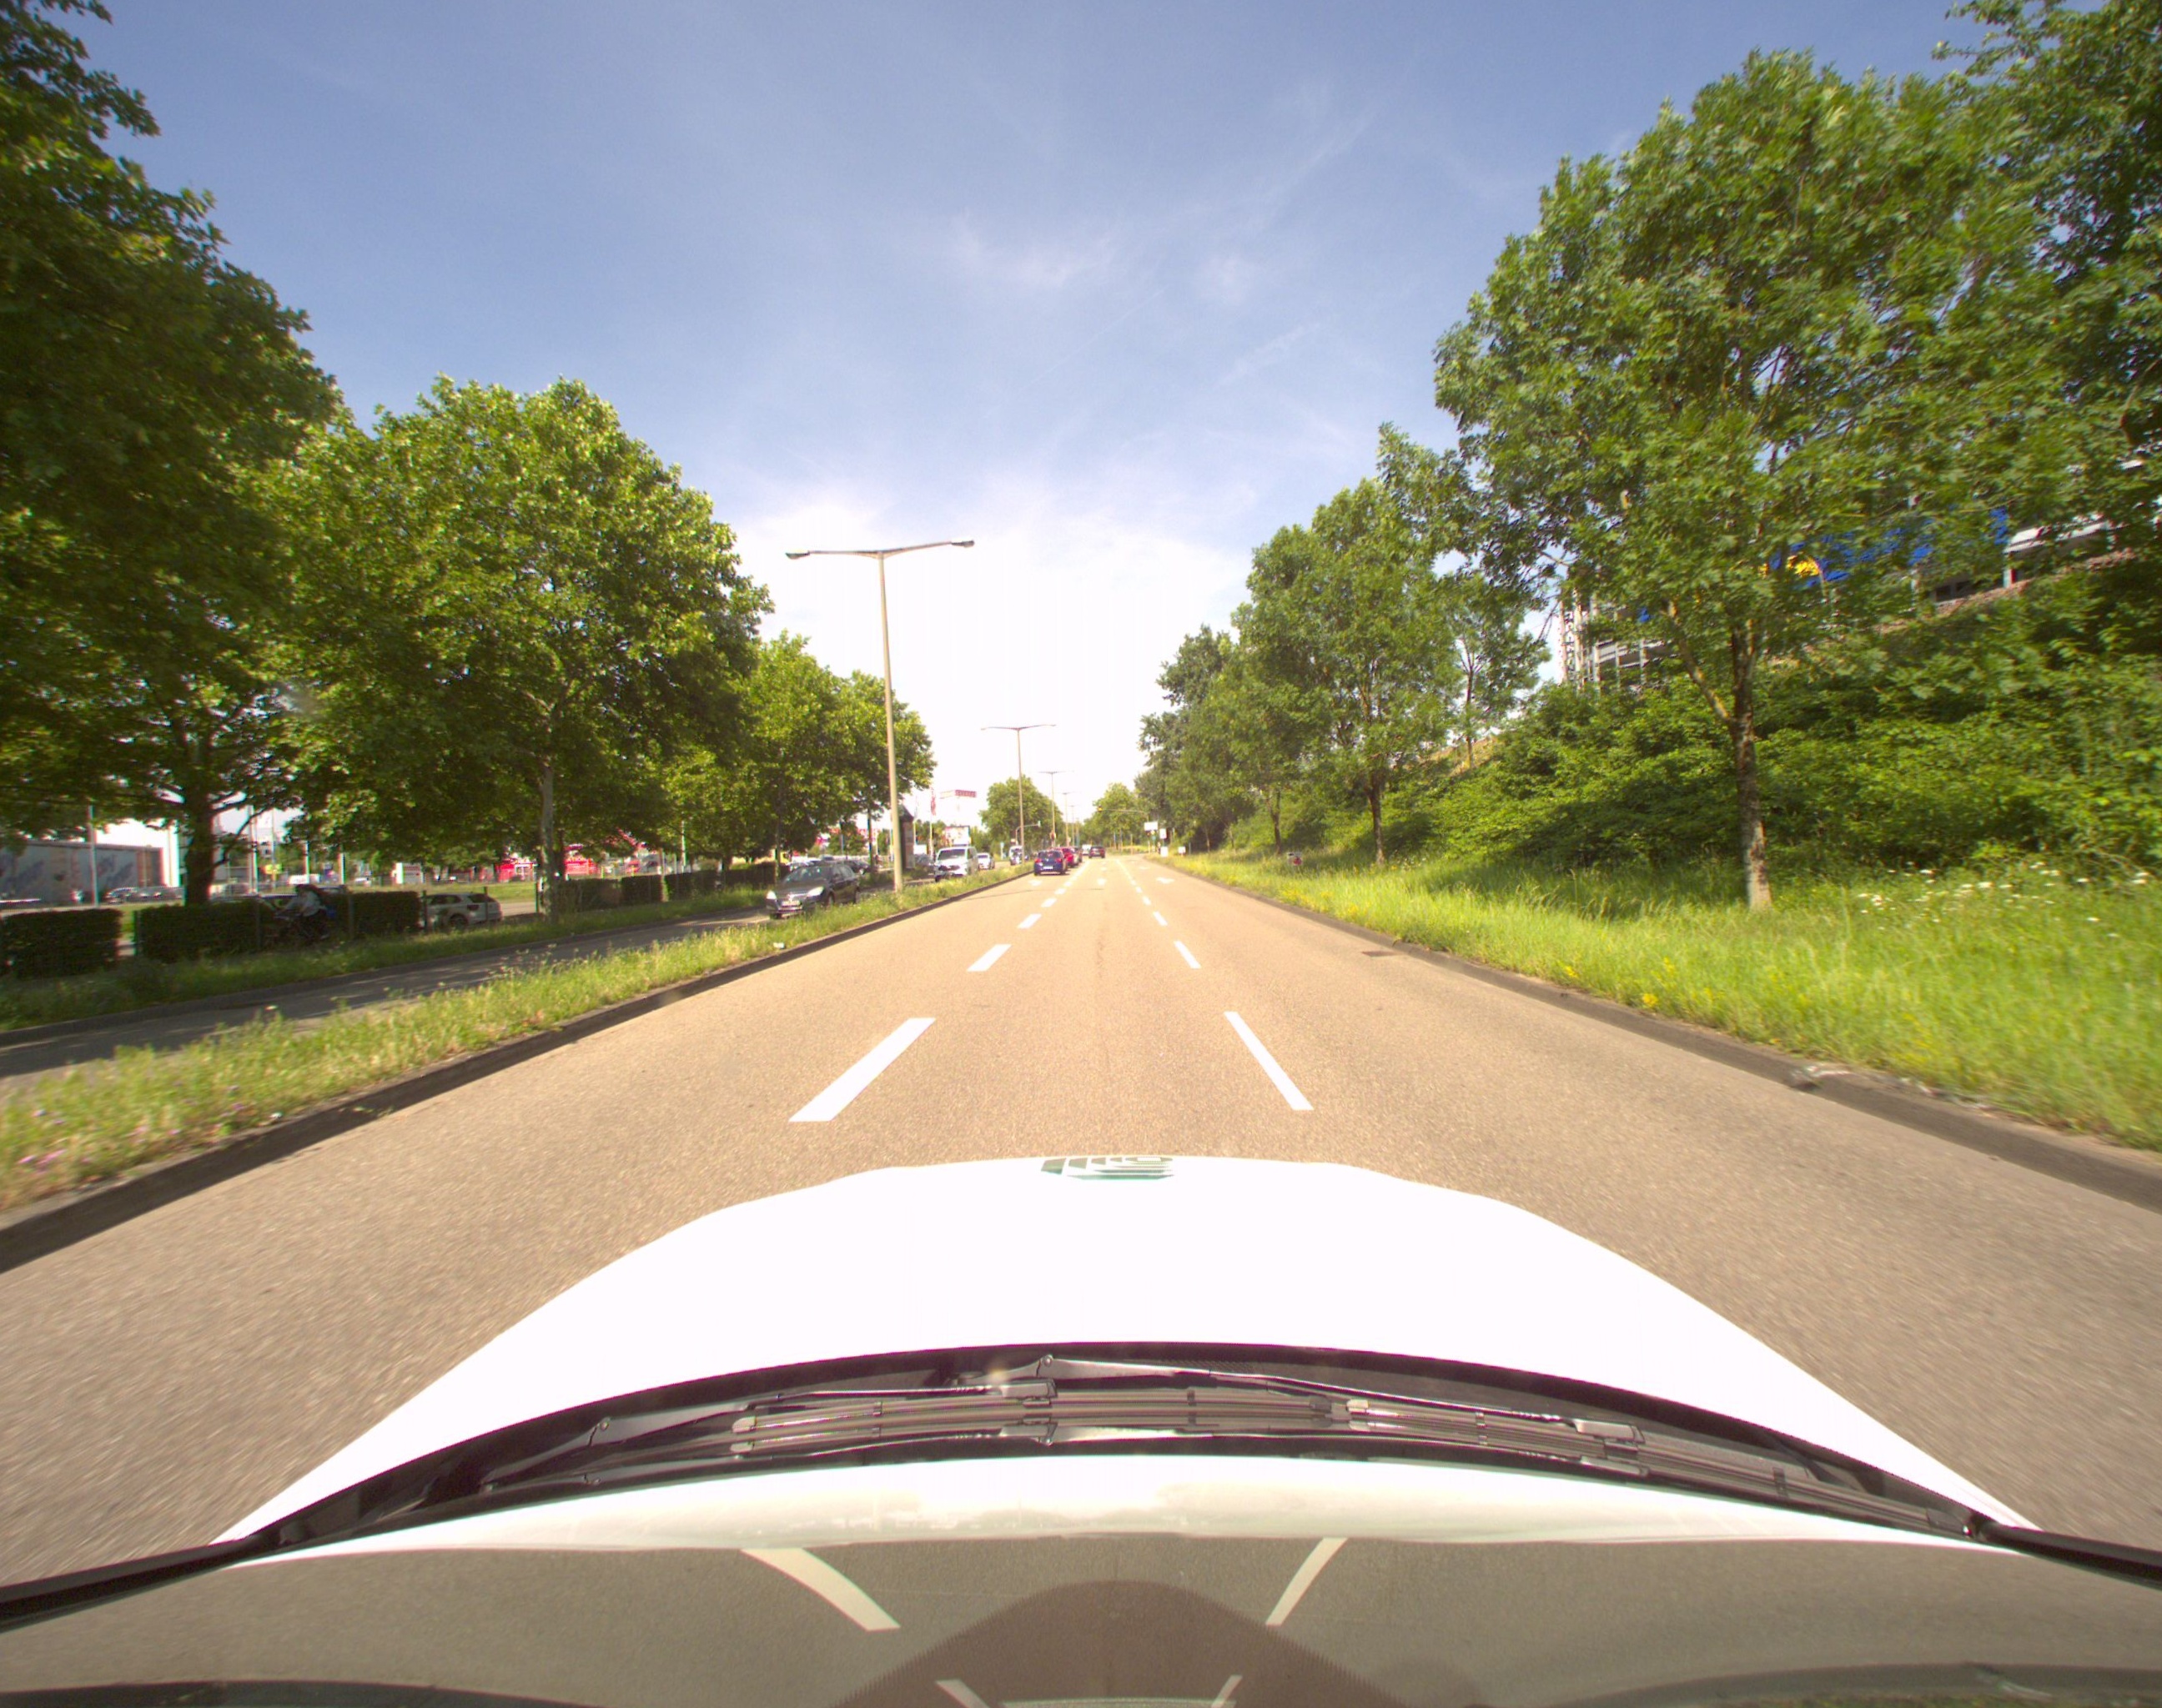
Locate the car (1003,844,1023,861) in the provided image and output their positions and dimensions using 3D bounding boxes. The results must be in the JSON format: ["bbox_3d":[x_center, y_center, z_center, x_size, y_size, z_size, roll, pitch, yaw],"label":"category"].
[{"bbox_3d":[-8.644,-0.193,103.911,1.986,2.013,5.215,-3,1,1],"label":"car"}]

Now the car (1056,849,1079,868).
[{"bbox_3d":[-1.095,0.374,68.481,1.760,1.479,4.136,-1,1,1],"label":"car"}]

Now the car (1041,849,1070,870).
[{"bbox_3d":[-1.684,0.344,55.508,1.696,1.390,4.473,-1,1,1],"label":"car"}]

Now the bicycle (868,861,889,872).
[{"bbox_3d":[-21.123,1.269,84.851,1.962,0.983,0.781,-4,3,-35],"label":"bicycle"}]

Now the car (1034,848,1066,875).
[{"bbox_3d":[-1.771,0.397,47.841,1.620,1.483,4.049,-1,1,1],"label":"car"}]

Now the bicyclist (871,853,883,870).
[{"bbox_3d":[-21.210,0.770,84.775,0.904,1.715,0.774,-4,3,-35],"label":"bicyclist"}]

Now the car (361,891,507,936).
[{"bbox_3d":[-24.514,2.235,30.982,3.979,1.414,1.802,-2,-1,-4],"label":"car"}]

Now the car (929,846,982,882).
[{"bbox_3d":[-7.216,0.522,47.327,2.110,1.883,5.419,-3,0,0],"label":"car"}]

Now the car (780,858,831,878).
[{"bbox_3d":[-26.114,1.341,77.234,4.121,1.603,1.729,-3,0,13],"label":"car"}]

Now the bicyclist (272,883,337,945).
[{"bbox_3d":[-20.062,1.533,21.064,0.679,1.485,0.942,-3,0,1],"label":"bicyclist"}]

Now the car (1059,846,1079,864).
[{"bbox_3d":[-1.069,0.090,75.472,1.623,1.595,3.918,-3,-1,1],"label":"car"}]

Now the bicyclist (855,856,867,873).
[{"bbox_3d":[-22.381,1.075,82.986,0.904,1.646,0.780,-4,3,-35],"label":"bicyclist"}]

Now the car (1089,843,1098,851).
[{"bbox_3d":[3.256,-1.850,211.802,1.988,2.013,3.997,-2,0,-2],"label":"car"}]

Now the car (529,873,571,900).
[{"bbox_3d":[-37.068,2.228,56.834,2.010,1.665,4.789,-3,0,-38],"label":"car"}]

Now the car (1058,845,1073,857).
[{"bbox_3d":[-2.501,-0.485,131.723,1.985,1.859,4.003,-3,0,3],"label":"car"}]

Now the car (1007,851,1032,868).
[{"bbox_3d":[-6.187,0.527,82.914,1.986,1.530,4.684,-3,0,2],"label":"car"}]

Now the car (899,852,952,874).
[{"bbox_3d":[-13.641,0.791,71.317,4.343,1.750,1.881,-3,0,31],"label":"car"}]

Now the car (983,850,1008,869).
[{"bbox_3d":[-8.686,0.546,82.695,1.970,1.693,4.000,-3,0,0],"label":"car"}]

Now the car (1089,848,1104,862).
[{"bbox_3d":[1.928,0.130,100.692,1.730,1.535,4.003,-2,3,2],"label":"car"}]

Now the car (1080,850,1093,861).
[{"bbox_3d":[0.909,0.281,135.760,1.986,1.744,4.267,-3,0,2],"label":"car"}]

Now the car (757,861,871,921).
[{"bbox_3d":[-7.737,1.008,24.029,1.762,1.468,4.285,-3,0,2],"label":"car"}]

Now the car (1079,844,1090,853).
[{"bbox_3d":[0.675,-1.034,156.522,1.986,1.708,4.265,-3,0,2],"label":"car"}]

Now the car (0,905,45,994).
[{"bbox_3d":[-24.547,2.066,16.727,3.968,1.823,2.159,-2,0,5],"label":"car"}]

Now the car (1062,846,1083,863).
[{"bbox_3d":[-0.813,0.033,82.132,1.875,1.618,4.213,-2,0,1],"label":"car"}]

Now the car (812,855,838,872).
[{"bbox_3d":[-39.554,1.493,125.882,2.011,2.532,4.583,-3,1,-42],"label":"car"}]

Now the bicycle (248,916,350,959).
[{"bbox_3d":[-20.033,2.121,20.919,0.687,0.866,1.927,-3,0,2],"label":"bicycle"}]

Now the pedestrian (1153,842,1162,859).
[{"bbox_3d":[8.987,-0.417,95.724,0.835,1.932,0.771,-2,2,-2],"label":"pedestrian"}]

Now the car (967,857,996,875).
[{"bbox_3d":[-8.586,1.036,70.837,1.780,1.398,4.360,-4,0,2],"label":"car"}]

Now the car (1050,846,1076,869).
[{"bbox_3d":[-1.338,0.237,62.682,1.776,1.592,4.594,-2,1,1],"label":"car"}]

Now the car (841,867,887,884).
[{"bbox_3d":[-20.121,1.959,75.441,3.949,1.388,1.776,-2,1,28],"label":"car"}]
